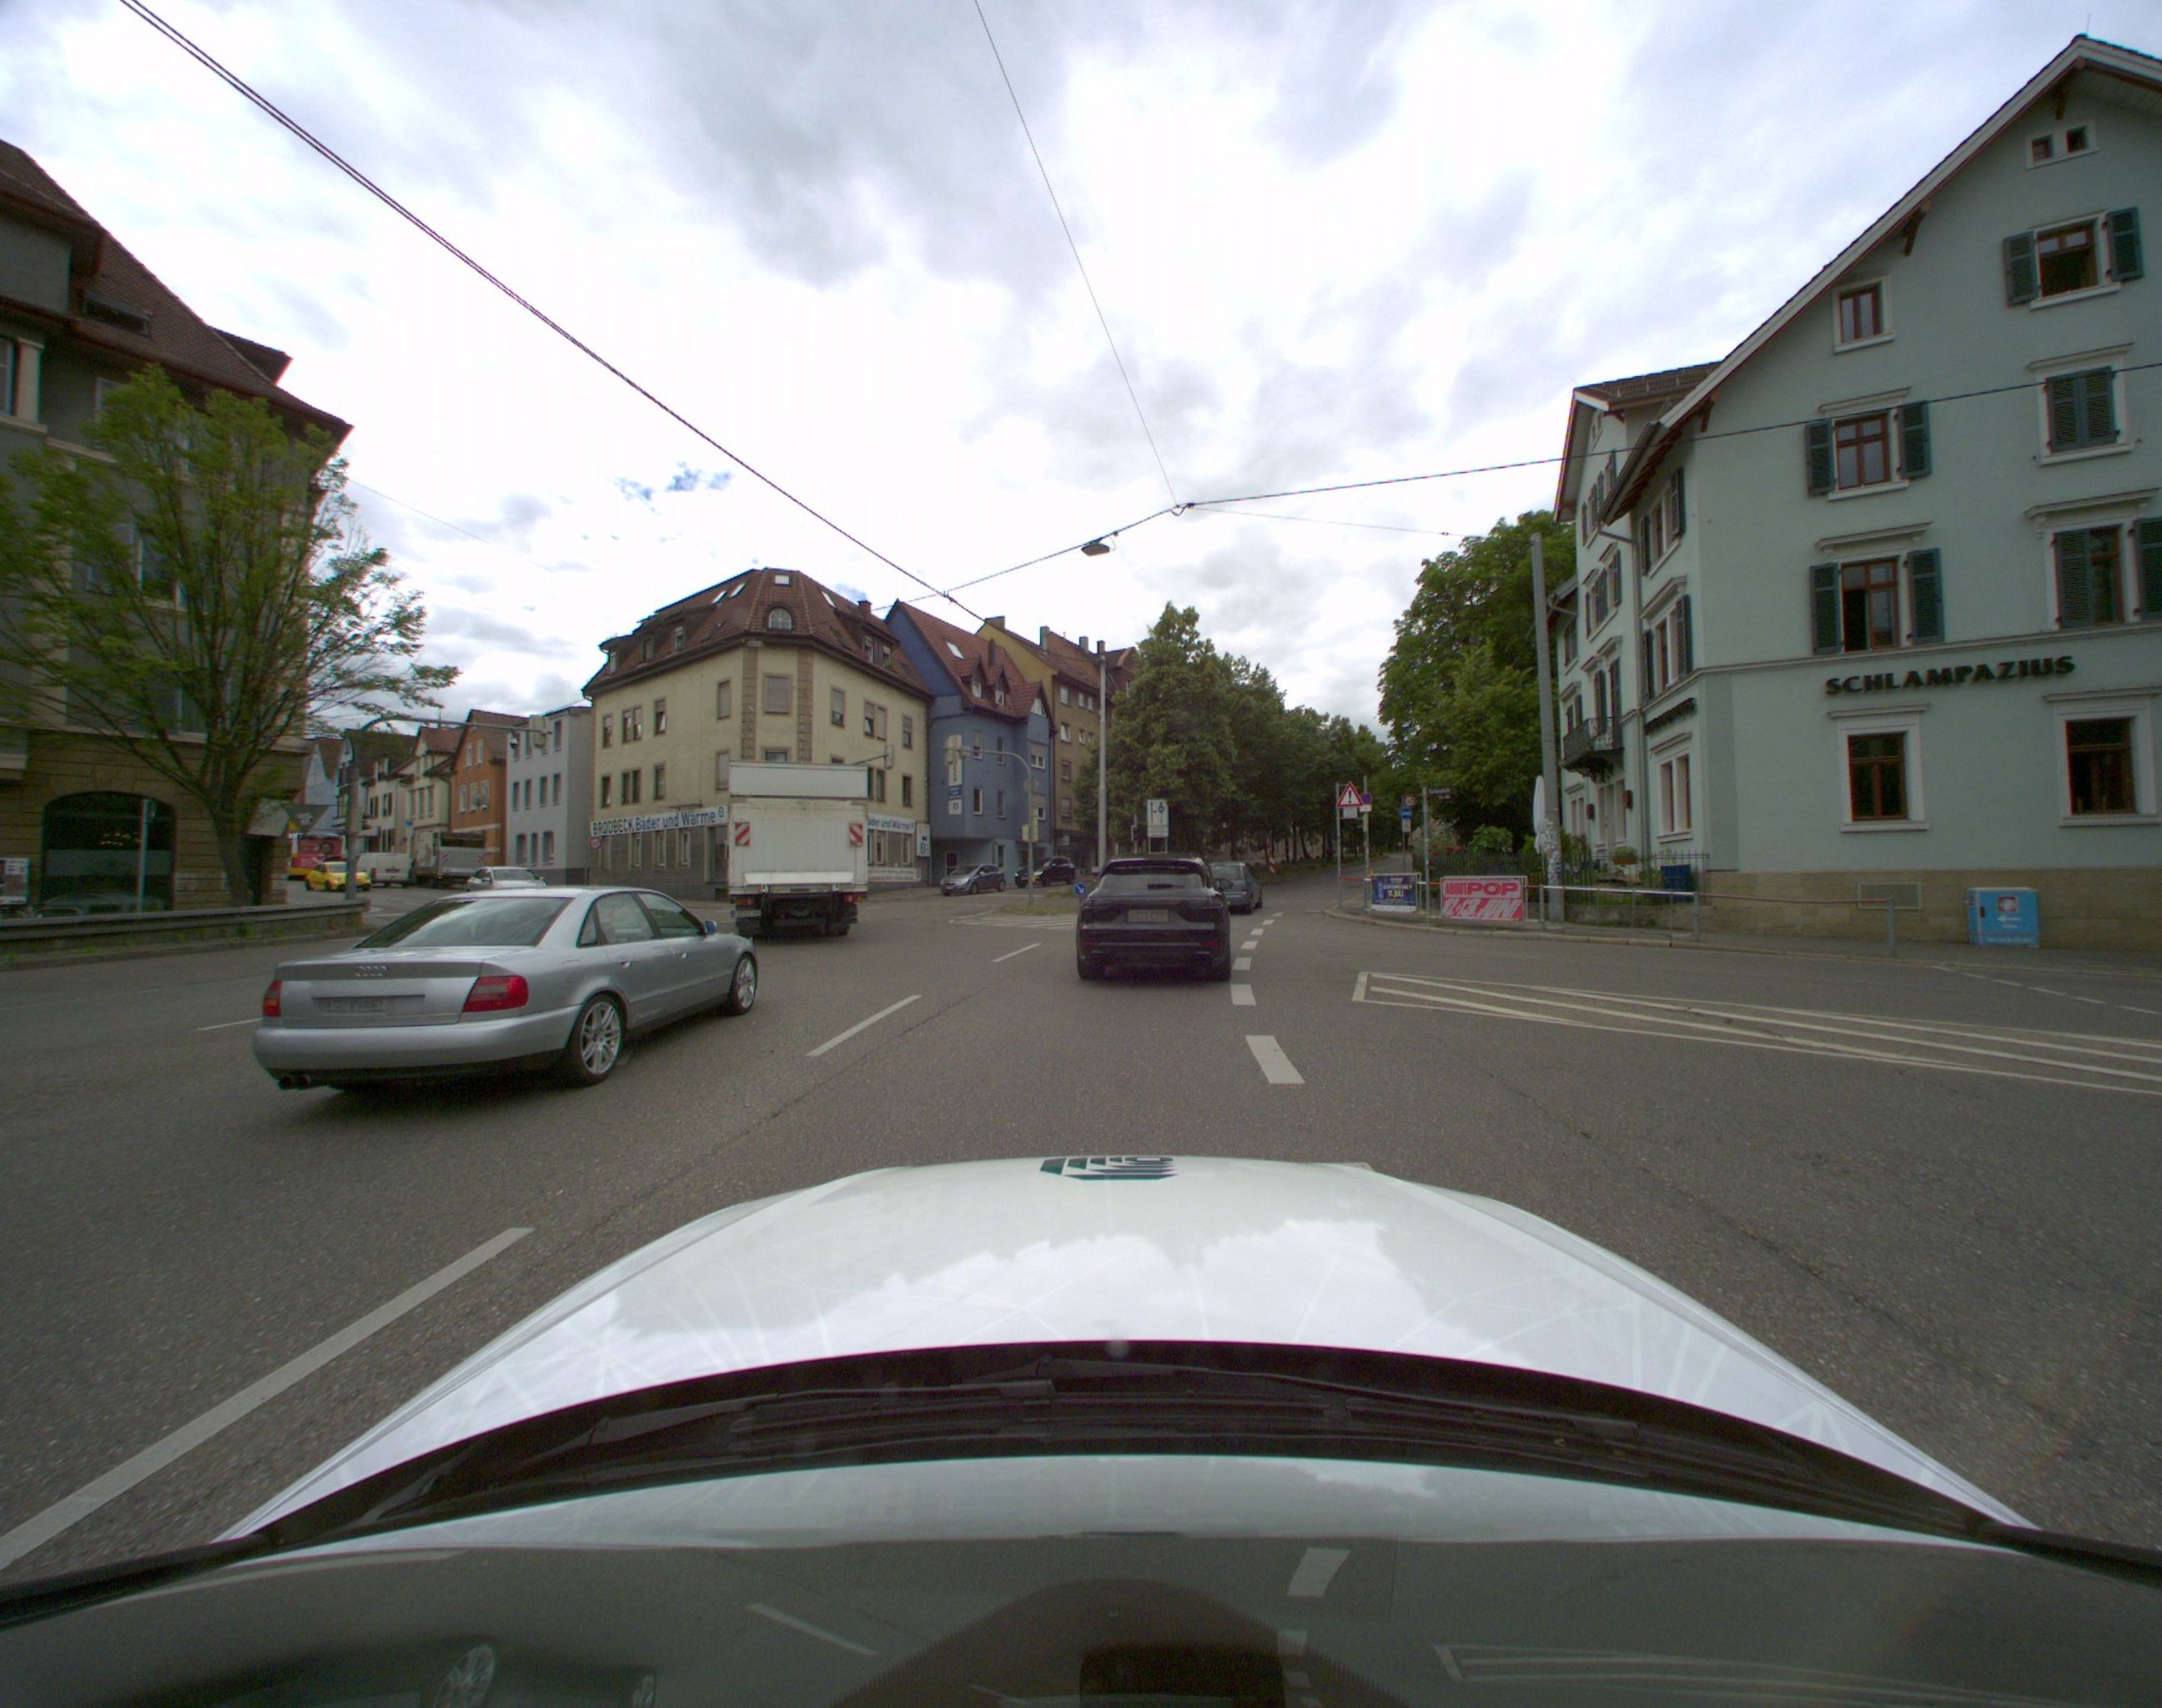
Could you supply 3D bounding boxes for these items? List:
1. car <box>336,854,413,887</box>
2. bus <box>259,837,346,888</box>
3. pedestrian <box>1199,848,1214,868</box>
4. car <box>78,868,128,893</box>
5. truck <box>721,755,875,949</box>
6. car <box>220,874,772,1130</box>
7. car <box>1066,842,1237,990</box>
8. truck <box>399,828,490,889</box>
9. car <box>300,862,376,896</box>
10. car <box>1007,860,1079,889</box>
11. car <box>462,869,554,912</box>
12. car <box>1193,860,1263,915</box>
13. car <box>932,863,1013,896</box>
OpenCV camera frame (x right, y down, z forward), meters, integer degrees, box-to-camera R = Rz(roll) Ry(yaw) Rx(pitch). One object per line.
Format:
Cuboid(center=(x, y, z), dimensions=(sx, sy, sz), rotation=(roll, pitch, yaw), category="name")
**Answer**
Cuboid(center=(-40.102, 0.920, 46.217), dimensions=(4.280, 1.799, 2.078), rotation=(0, 0, 32), category="car")
Cuboid(center=(-52.545, 0.577, 54.909), dimensions=(7.563, 3.243, 2.828), rotation=(0, -1, 35), category="bus")
Cuboid(center=(12.383, 0.383, 80.203), dimensions=(1.181, 2.014, 0.994), rotation=(0, -1, 25), category="pedestrian")
Cuboid(center=(-65.867, 1.751, 54.860), dimensions=(3.948, 1.535, 1.859), rotation=(0, -1, 36), category="car")
Cuboid(center=(-6.831, -0.003, 19.287), dimensions=(2.736, 3.544, 8.360), rotation=(0, 0, -21), category="truck")
Cuboid(center=(-4.152, 0.913, 6.771), dimensions=(1.624, 1.365, 4.126), rotation=(1, 0, -1), category="car")
Cuboid(center=(1.161, 0.747, 11.911), dimensions=(2.020, 1.723, 4.510), rotation=(0, -1, 8), category="car")
Cuboid(center=(-37.341, 0.283, 47.734), dimensions=(5.368, 3.354, 2.716), rotation=(0, -1, 35), category="truck")
Cuboid(center=(-38.202, 1.241, 41.874), dimensions=(3.948, 1.601, 2.013), rotation=(0, 0, 34), category="car")
Cuboid(center=(-2.048, 1.120, 45.930), dimensions=(1.852, 1.416, 4.727), rotation=(-2, 0, 28), category="car")
Cuboid(center=(-21.334, 1.326, 30.293), dimensions=(3.924, 1.470, 1.892), rotation=(-2, -2, 41), category="car")
Cuboid(center=(4.650, 1.007, 25.372), dimensions=(1.635, 1.556, 3.599), rotation=(0, -1, 18), category="car")
Cuboid(center=(-5.179, 1.211, 39.348), dimensions=(1.700, 1.476, 4.244), rotation=(-3, -2, 27), category="car")
